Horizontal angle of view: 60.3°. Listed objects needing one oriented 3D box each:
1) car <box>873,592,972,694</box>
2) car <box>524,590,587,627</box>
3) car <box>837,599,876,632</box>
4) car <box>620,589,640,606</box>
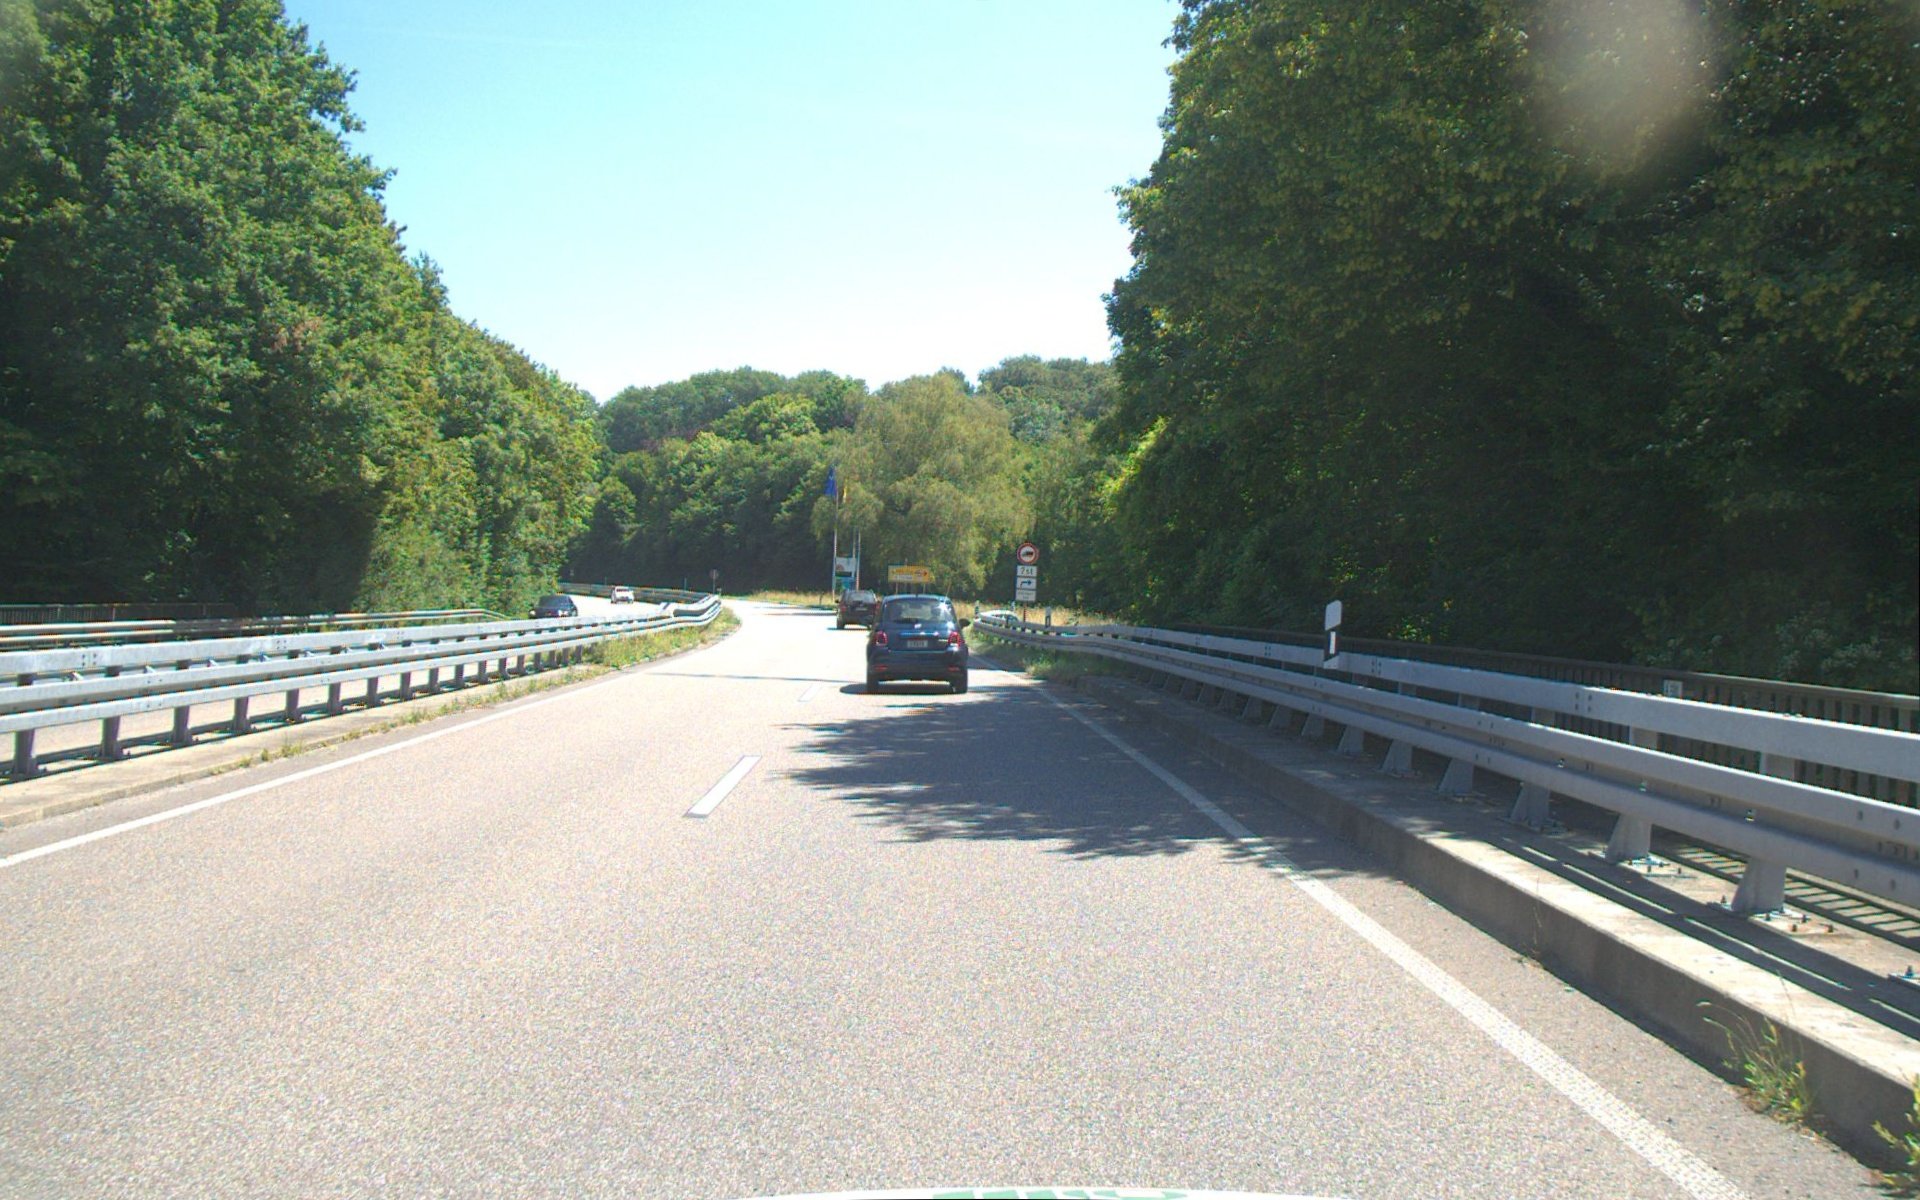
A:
[{"bbox_3d":[-0.564,0.635,26.661,1.482,1.527,3.590,0,0,0],"label":"car"},{"bbox_3d":[-17.546,0.361,71.919,1.720,1.555,4.682,0,0,-2],"label":"car"},{"bbox_3d":[-4.483,0.653,71.370,1.496,1.336,3.409,0,0,-7],"label":"car"},{"bbox_3d":[-31.479,-0.211,157.806,1.726,1.600,4.398,0,0,-14],"label":"car"}]
